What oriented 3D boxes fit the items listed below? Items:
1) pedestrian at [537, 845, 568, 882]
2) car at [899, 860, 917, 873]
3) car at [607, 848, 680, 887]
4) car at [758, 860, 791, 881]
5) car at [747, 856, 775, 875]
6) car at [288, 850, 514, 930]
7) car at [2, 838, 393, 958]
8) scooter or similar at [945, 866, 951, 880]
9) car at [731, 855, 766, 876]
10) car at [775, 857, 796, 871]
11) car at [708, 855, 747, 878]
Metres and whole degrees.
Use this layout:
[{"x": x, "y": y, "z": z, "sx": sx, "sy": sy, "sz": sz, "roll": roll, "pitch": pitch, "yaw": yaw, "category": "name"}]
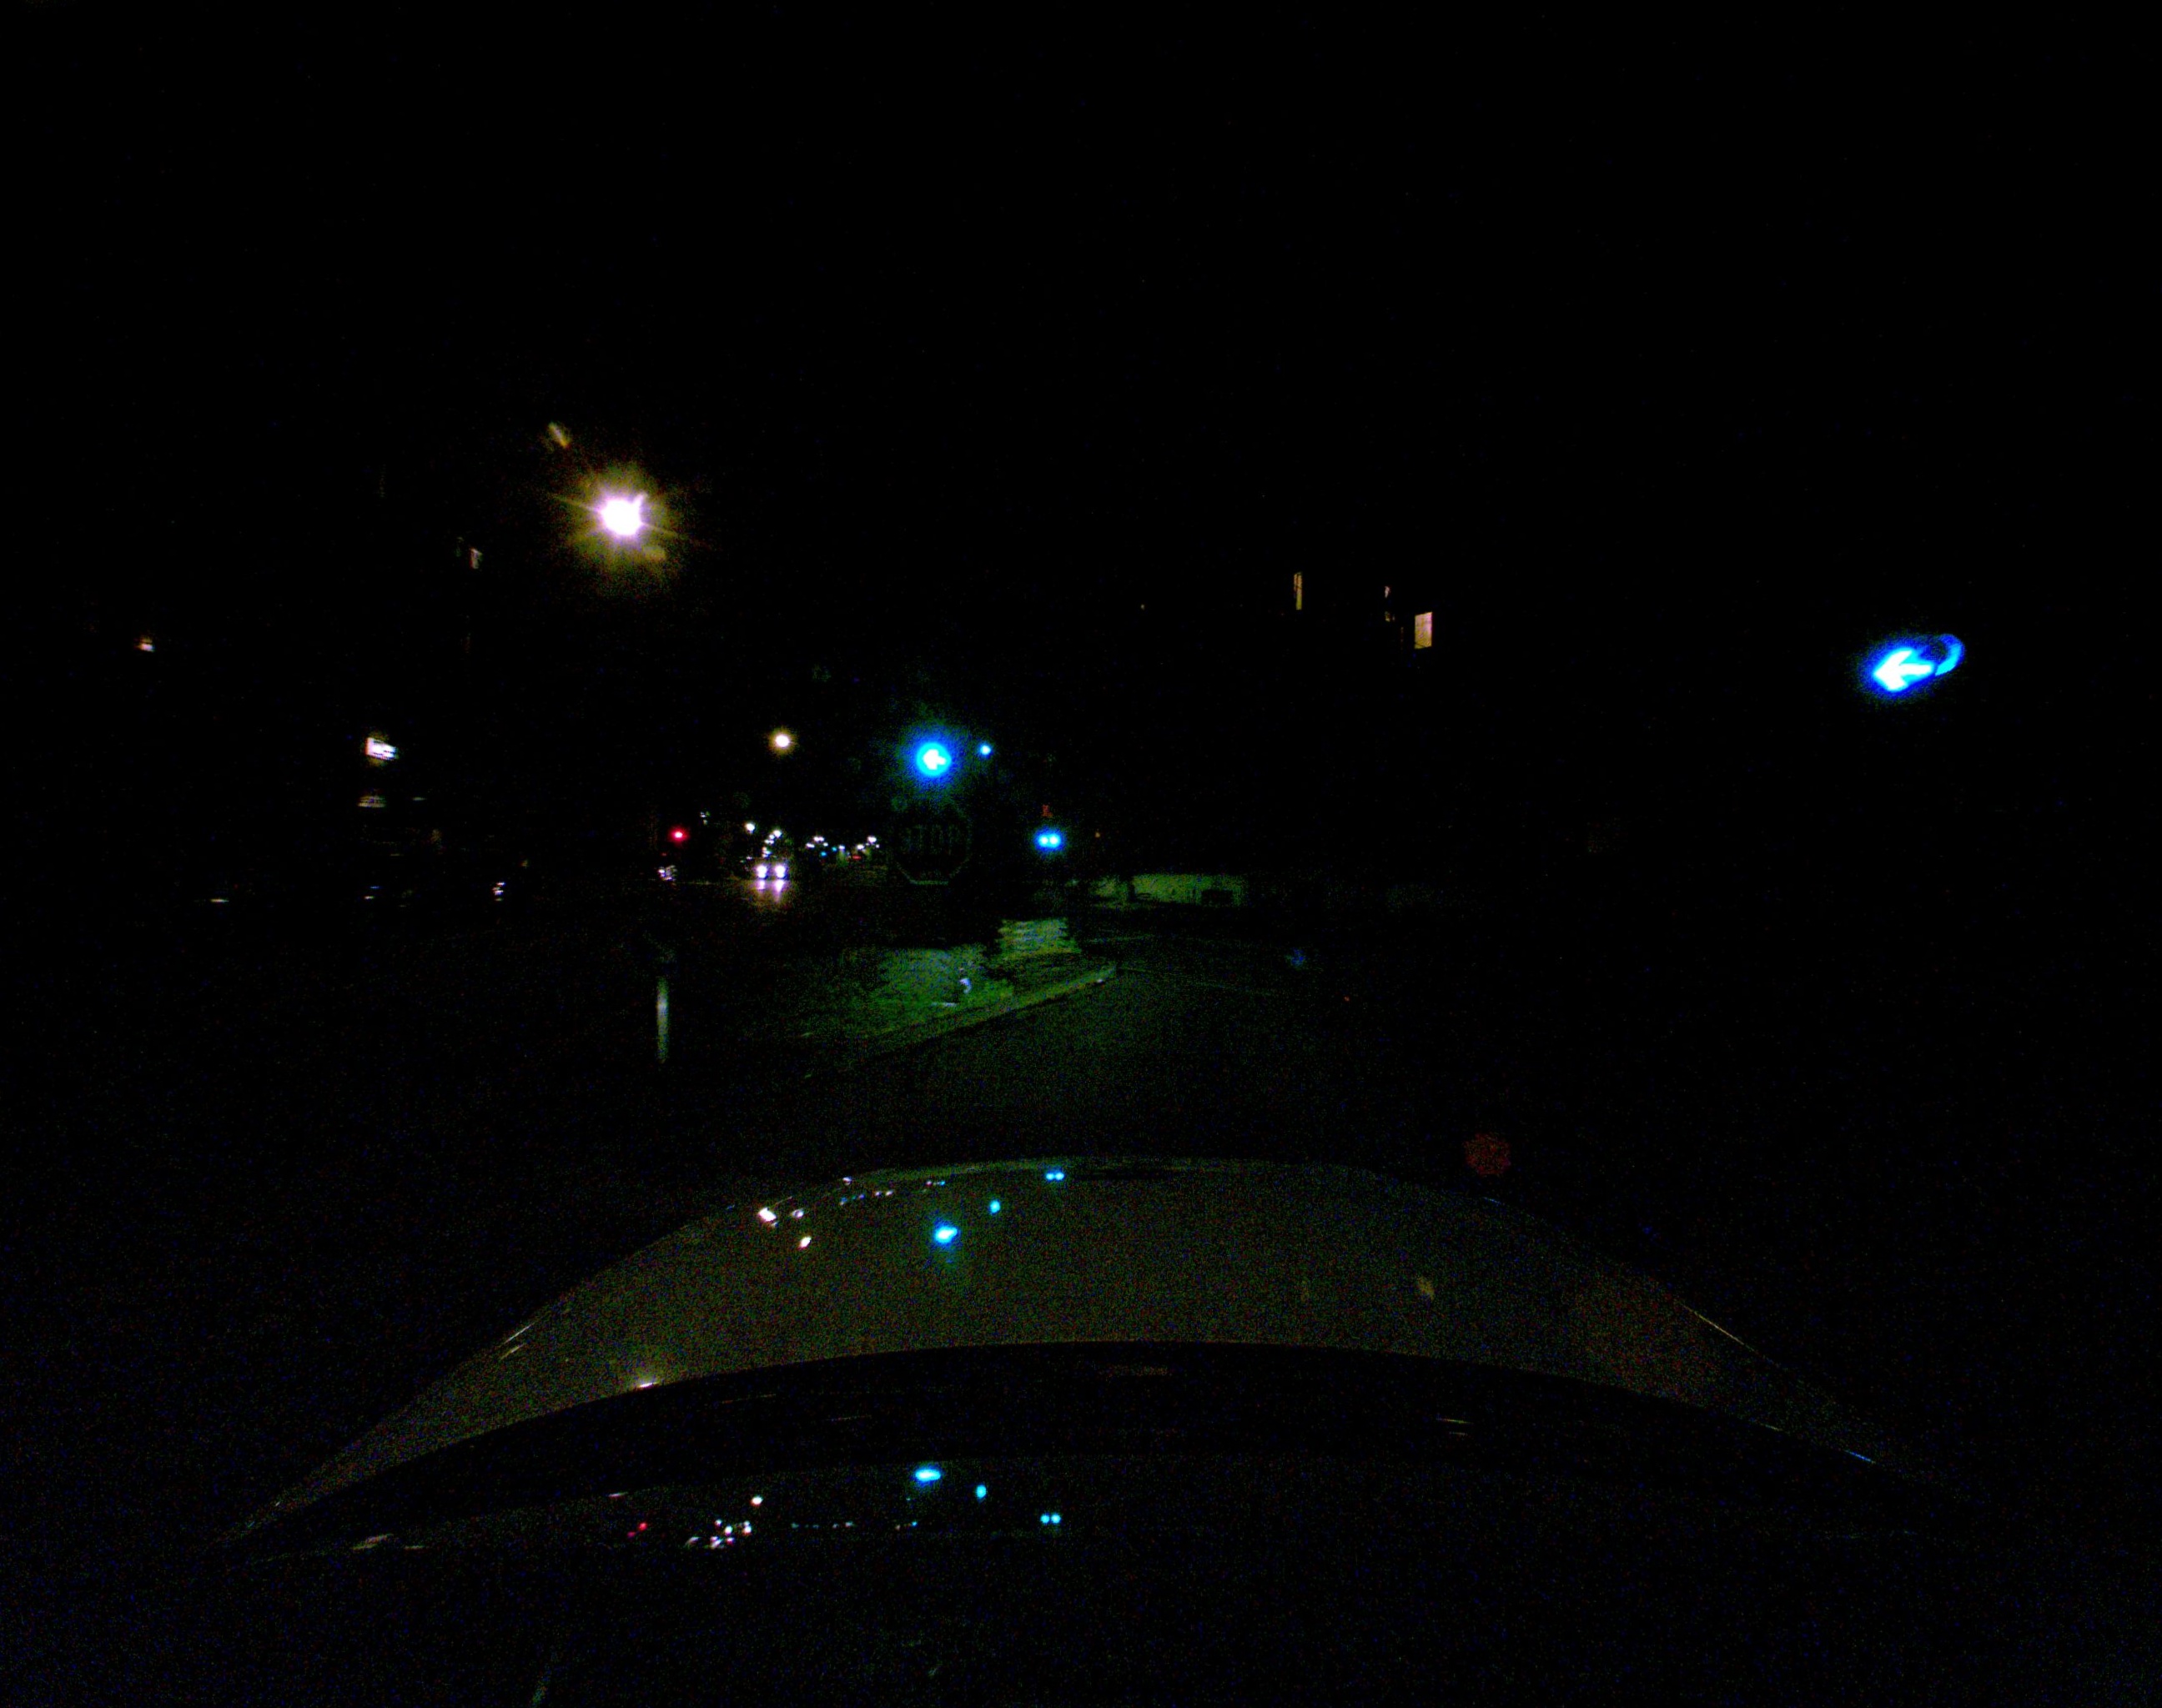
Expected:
[{"x": -24.593, "y": 0.436, "z": 37.888, "sx": 0.708, "sy": 1.690, "sz": 1.122, "roll": 1, "pitch": -1, "yaw": -4, "category": "pedestrian"}, {"x": -22.094, "y": 1.599, "z": 104.049, "sx": 1.738, "sy": 1.460, "sz": 4.698, "roll": 2, "pitch": -1, "yaw": -18, "category": "car"}, {"x": -20.094, "y": 0.617, "z": 37.596, "sx": 1.888, "sy": 1.596, "sz": 4.006, "roll": 3, "pitch": -1, "yaw": -13, "category": "car"}, {"x": -21.964, "y": 1.137, "z": 58.414, "sx": 1.717, "sy": 1.429, "sz": 3.981, "roll": 0, "pitch": 0, "yaw": -14, "category": "car"}, {"x": -28.217, "y": 0.978, "z": 71.907, "sx": 1.788, "sy": 1.491, "sz": 3.978, "roll": 5, "pitch": -1, "yaw": -16, "category": "car"}, {"x": -14.178, "y": 0.707, "z": 17.376, "sx": 1.863, "sy": 1.433, "sz": 4.421, "roll": 3, "pitch": -1, "yaw": -14, "category": "car"}, {"x": -13.025, "y": 0.599, "z": 12.543, "sx": 1.863, "sy": 1.479, "sz": 4.450, "roll": 3, "pitch": -1, "yaw": -14, "category": "car"}, {"x": -11.146, "y": 1.595, "z": 68.371, "sx": 0.421, "sy": 1.130, "sz": 1.490, "roll": 1, "pitch": -1, "yaw": -6, "category": "scooter or similar"}, {"x": -26.927, "y": 0.911, "z": 66.139, "sx": 1.786, "sy": 1.491, "sz": 4.311, "roll": 4, "pitch": -1, "yaw": -12, "category": "car"}, {"x": -33.428, "y": 1.106, "z": 92.160, "sx": 1.788, "sy": 1.416, "sz": 4.104, "roll": 3, "pitch": -1, "yaw": -16, "category": "car"}, {"x": -25.067, "y": 0.871, "z": 57.876, "sx": 1.592, "sy": 1.491, "sz": 3.686, "roll": 4, "pitch": -1, "yaw": -10, "category": "car"}]
